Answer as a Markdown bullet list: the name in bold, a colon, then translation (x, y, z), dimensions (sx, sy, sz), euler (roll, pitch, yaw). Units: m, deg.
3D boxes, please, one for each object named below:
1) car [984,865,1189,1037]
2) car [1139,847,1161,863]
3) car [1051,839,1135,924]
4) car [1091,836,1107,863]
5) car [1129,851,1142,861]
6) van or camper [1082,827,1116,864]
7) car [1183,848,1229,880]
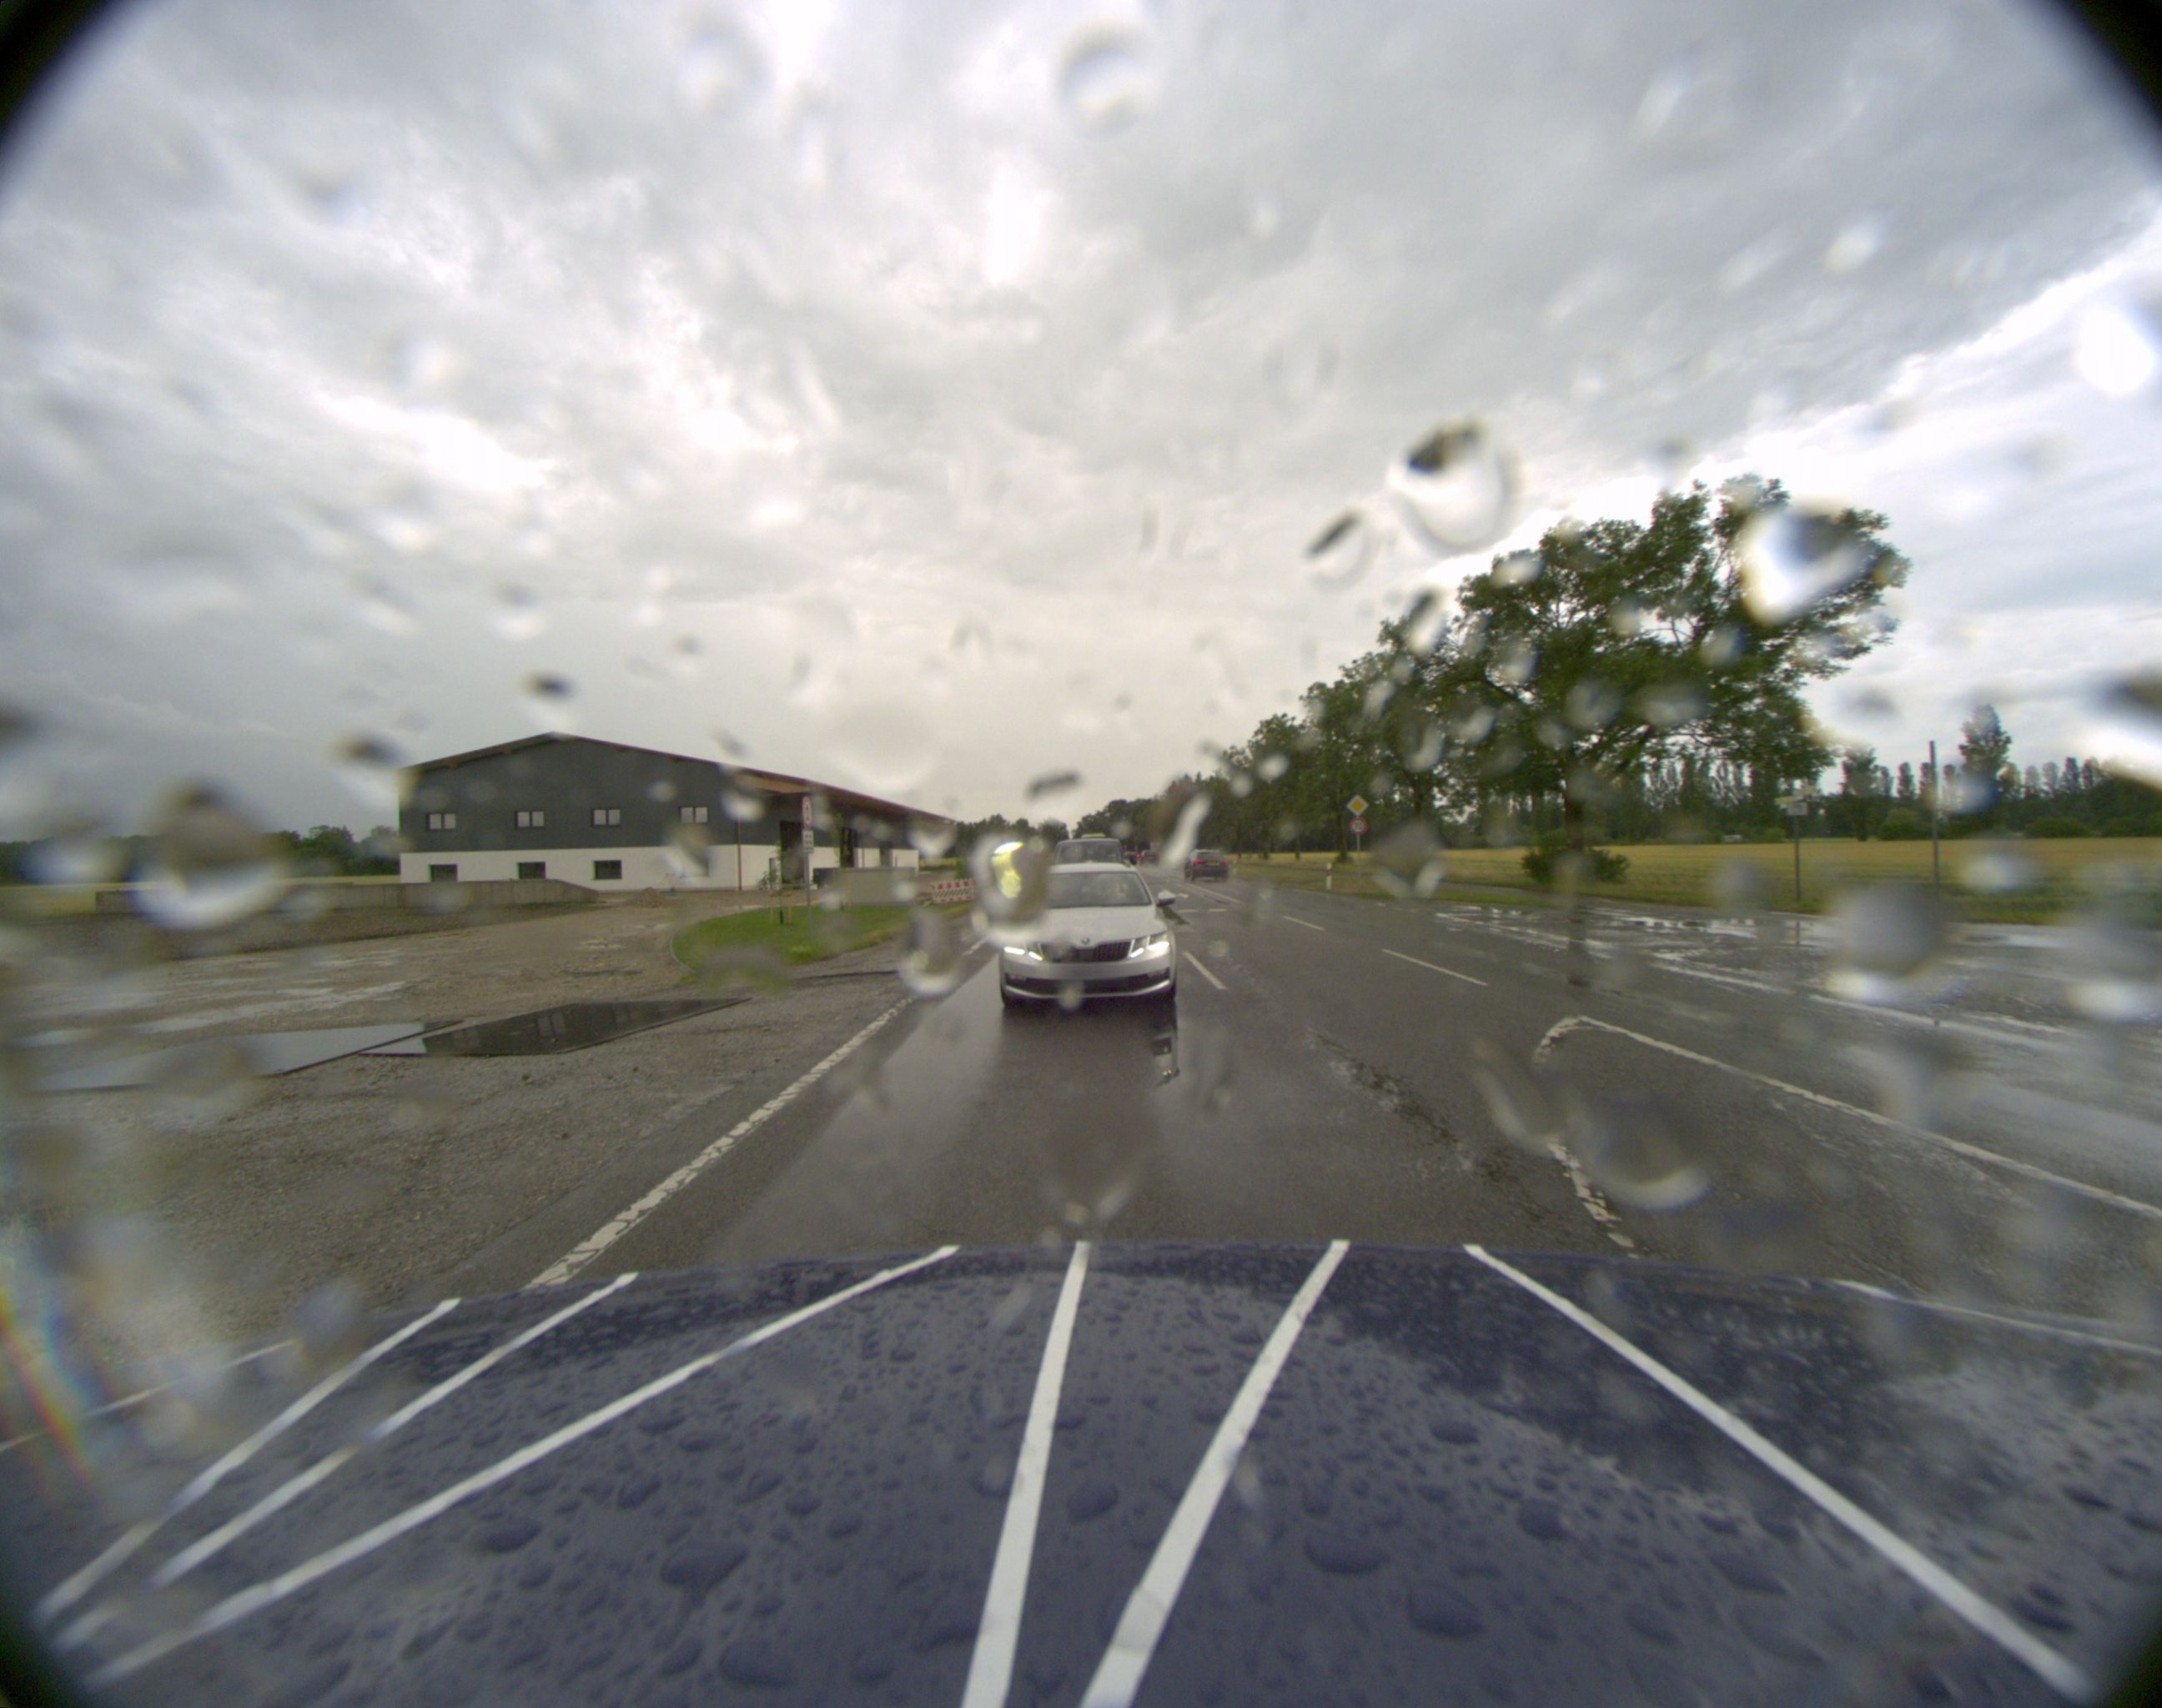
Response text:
- **car**: translation (0.103, 0.892, 9.004), dimensions (1.770, 1.365, 4.575), euler (-2, 1, 1)
- **car**: translation (7.228, 0.092, 79.517), dimensions (1.949, 1.571, 4.443), euler (0, 0, 1)
- **car**: translation (0.317, 0.599, 19.400), dimensions (1.841, 1.888, 4.575), euler (-2, 1, 1)
- **car**: translation (2.169, -0.585, 92.339), dimensions (1.771, 3.134, 4.027), euler (-2, 1, 1)
- **car**: translation (7.656, 0.224, 107.528), dimensions (1.716, 1.397, 3.814), euler (0, 0, 3)
- **van or camper**: translation (1.912, -0.873, 80.910), dimensions (3.342, 3.624, 8.372), euler (-2, 1, 1)
- **car**: translation (6.282, 0.469, 38.613), dimensions (1.773, 1.514, 4.141), euler (0, 0, 1)
